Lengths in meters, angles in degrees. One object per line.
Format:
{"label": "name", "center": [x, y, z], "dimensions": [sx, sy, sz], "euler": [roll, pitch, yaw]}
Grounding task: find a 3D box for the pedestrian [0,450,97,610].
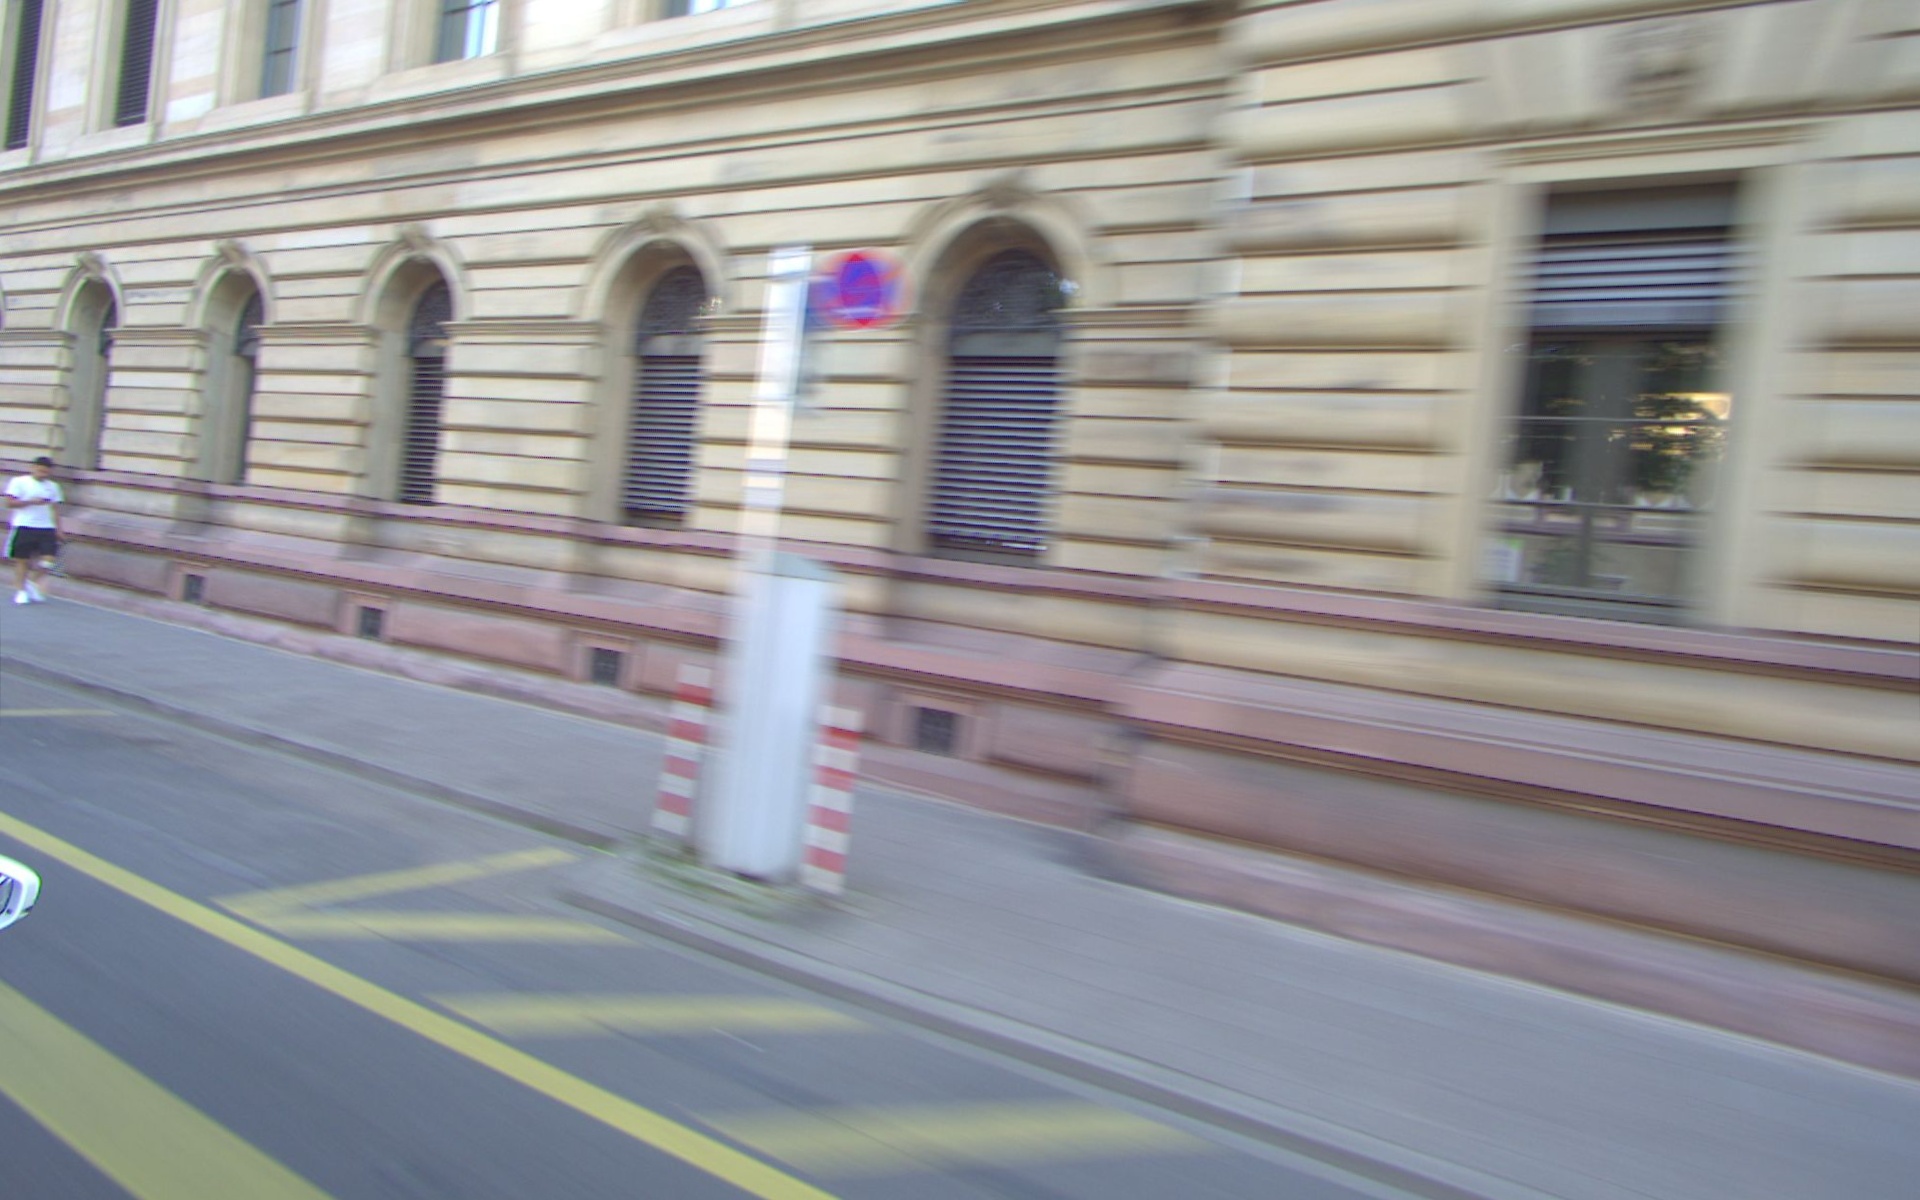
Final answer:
{"label": "pedestrian", "center": [-11.366, -0.859, 12.275], "dimensions": [1.020, 1.786, 0.818], "euler": [8, 0, 32]}
